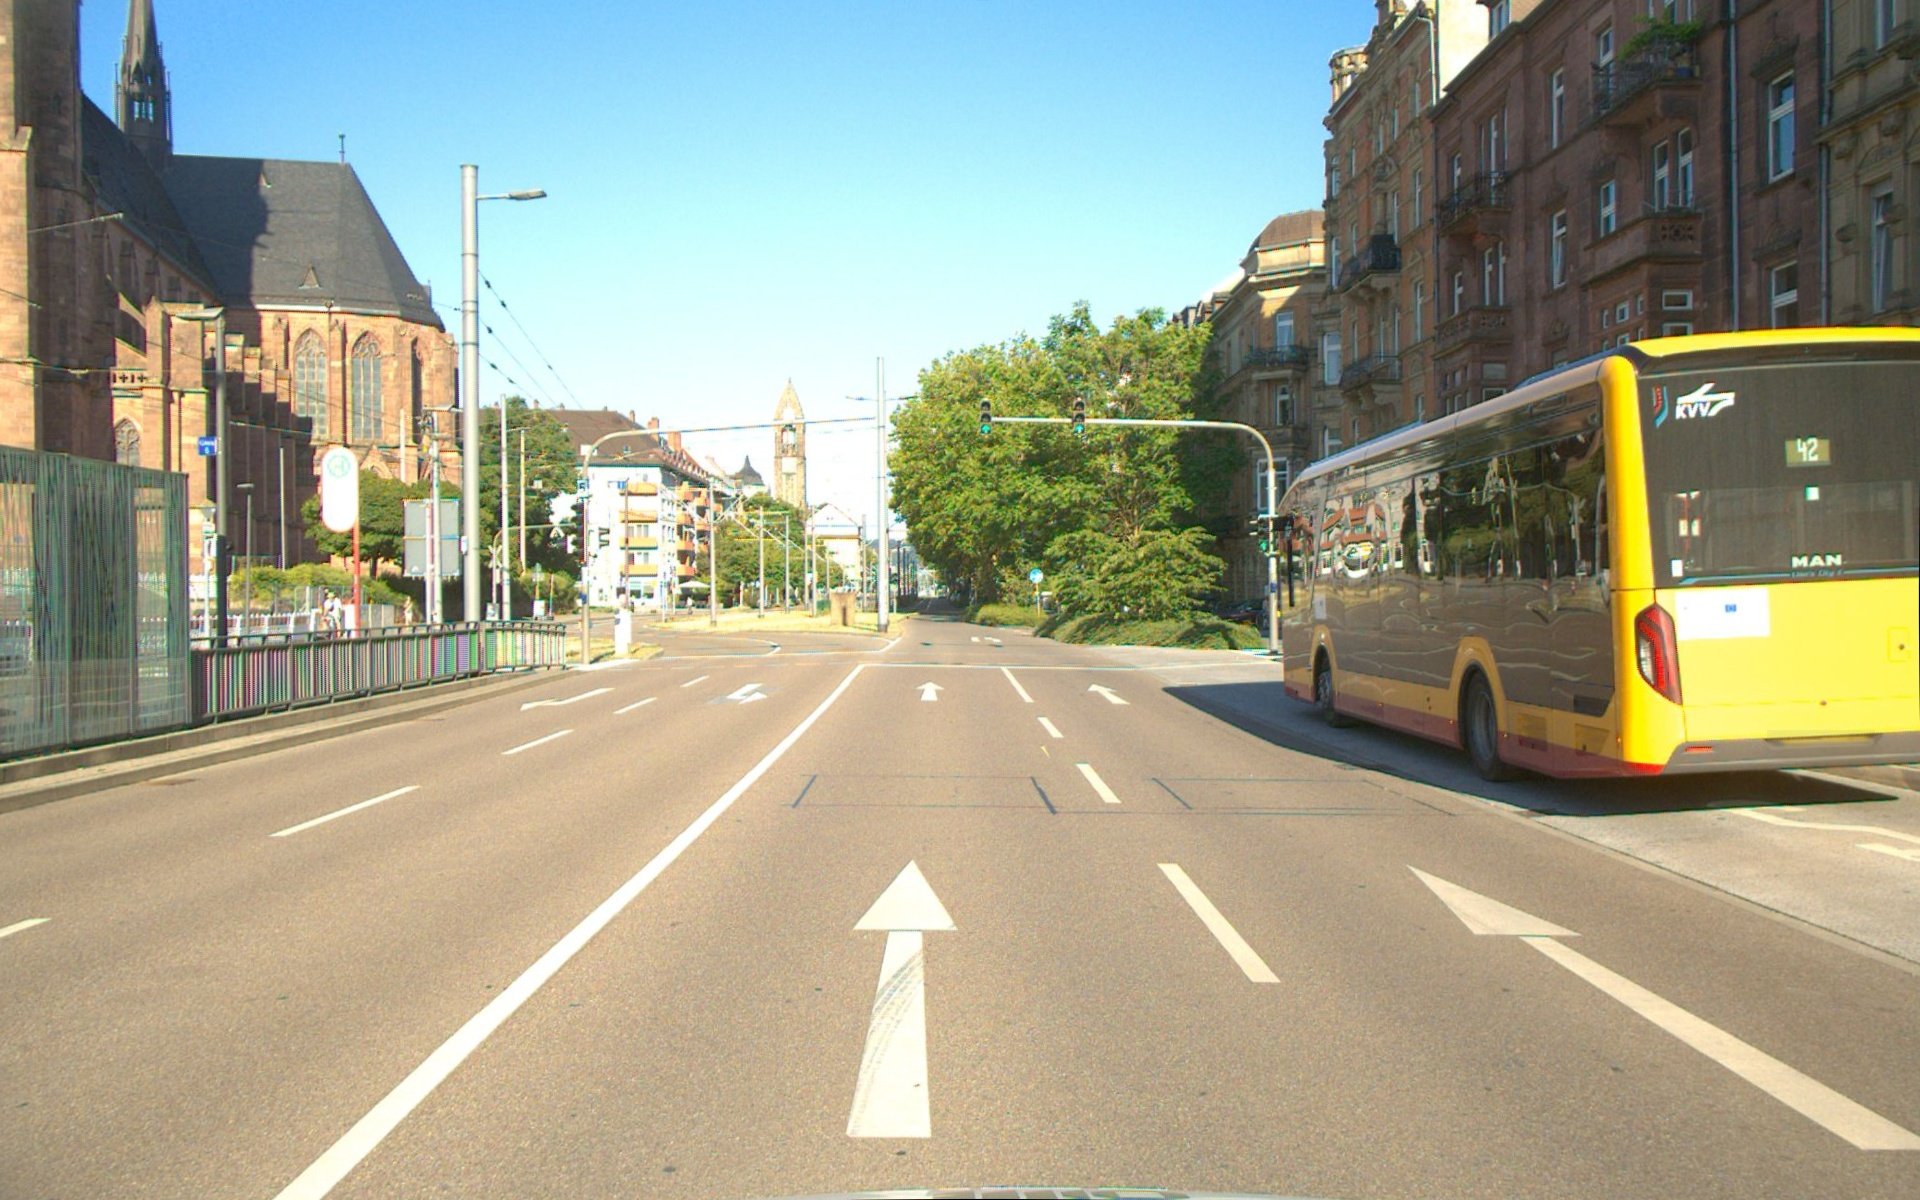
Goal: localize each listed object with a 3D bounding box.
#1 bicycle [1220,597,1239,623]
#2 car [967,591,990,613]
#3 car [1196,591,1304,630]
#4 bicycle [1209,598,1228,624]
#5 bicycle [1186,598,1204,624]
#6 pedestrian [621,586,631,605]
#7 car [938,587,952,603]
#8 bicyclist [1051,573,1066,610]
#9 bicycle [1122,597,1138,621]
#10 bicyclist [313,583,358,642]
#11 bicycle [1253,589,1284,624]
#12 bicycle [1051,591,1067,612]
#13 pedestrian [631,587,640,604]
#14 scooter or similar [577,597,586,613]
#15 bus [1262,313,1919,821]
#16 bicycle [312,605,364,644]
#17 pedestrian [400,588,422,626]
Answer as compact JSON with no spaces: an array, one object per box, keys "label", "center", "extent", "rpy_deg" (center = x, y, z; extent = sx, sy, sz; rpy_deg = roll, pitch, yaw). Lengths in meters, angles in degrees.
[{"label":"bicycle","center":[12.270,0.441,75.415],"extent":[0.507,1.066,1.821],"rpy_deg":[-2,3,-2]},{"label":"car","center":[1.390,0.124,122.960],"extent":[1.610,1.537,4.182],"rpy_deg":[-2,1,0]},{"label":"car","center":[12.021,0.421,68.750],"extent":[4.165,1.440,1.813],"rpy_deg":[-1,3,-1]},{"label":"bicycle","center":[11.661,0.499,74.712],"extent":[0.507,1.066,1.821],"rpy_deg":[-2,3,-2]},{"label":"bicycle","center":[10.601,0.490,74.658],"extent":[0.507,1.066,1.821],"rpy_deg":[-2,3,-2]},{"label":"pedestrian","center":[-30.515,-0.391,151.157],"extent":[0.630,1.626,0.898],"rpy_deg":[-2,3,-1]},{"label":"car","center":[-2.145,-0.636,232.485],"extent":[1.953,2.144,3.999],"rpy_deg":[1,-1,0]},{"label":"bicyclist","center":[5.053,-0.429,84.585],"extent":[0.628,1.846,1.052],"rpy_deg":[-2,-1,-2]},{"label":"bicycle","center":[8.217,0.430,79.878],"extent":[0.515,1.005,1.722],"rpy_deg":[-2,3,-2]},{"label":"bicyclist","center":[-20.909,0.422,55.427],"extent":[0.945,1.839,1.317],"rpy_deg":[-6,2,-8]},{"label":"bicycle","center":[11.642,0.253,62.400],"extent":[0.480,1.260,1.885],"rpy_deg":[-2,-1,-10]},{"label":"bicycle","center":[5.063,0.089,84.693],"extent":[0.628,1.066,2.359],"rpy_deg":[-2,-1,-2]},{"label":"pedestrian","center":[-29.678,-0.381,151.200],"extent":[0.577,1.493,0.916],"rpy_deg":[-2,3,-1]},{"label":"scooter or similar","center":[-32.148,0.418,140.481],"extent":[0.393,1.283,1.231],"rpy_deg":[-2,3,0]},{"label":"bus","center":[5.704,-0.276,17.005],"extent":[2.660,3.236,12.539],"rpy_deg":[-2,0,-1]},{"label":"bicycle","center":[-20.911,0.804,55.658],"extent":[0.945,1.115,2.819],"rpy_deg":[-6,2,-8]},{"label":"pedestrian","center":[-26.797,0.340,80.735],"extent":[0.713,1.804,0.863],"rpy_deg":[-2,3,-4]}]
